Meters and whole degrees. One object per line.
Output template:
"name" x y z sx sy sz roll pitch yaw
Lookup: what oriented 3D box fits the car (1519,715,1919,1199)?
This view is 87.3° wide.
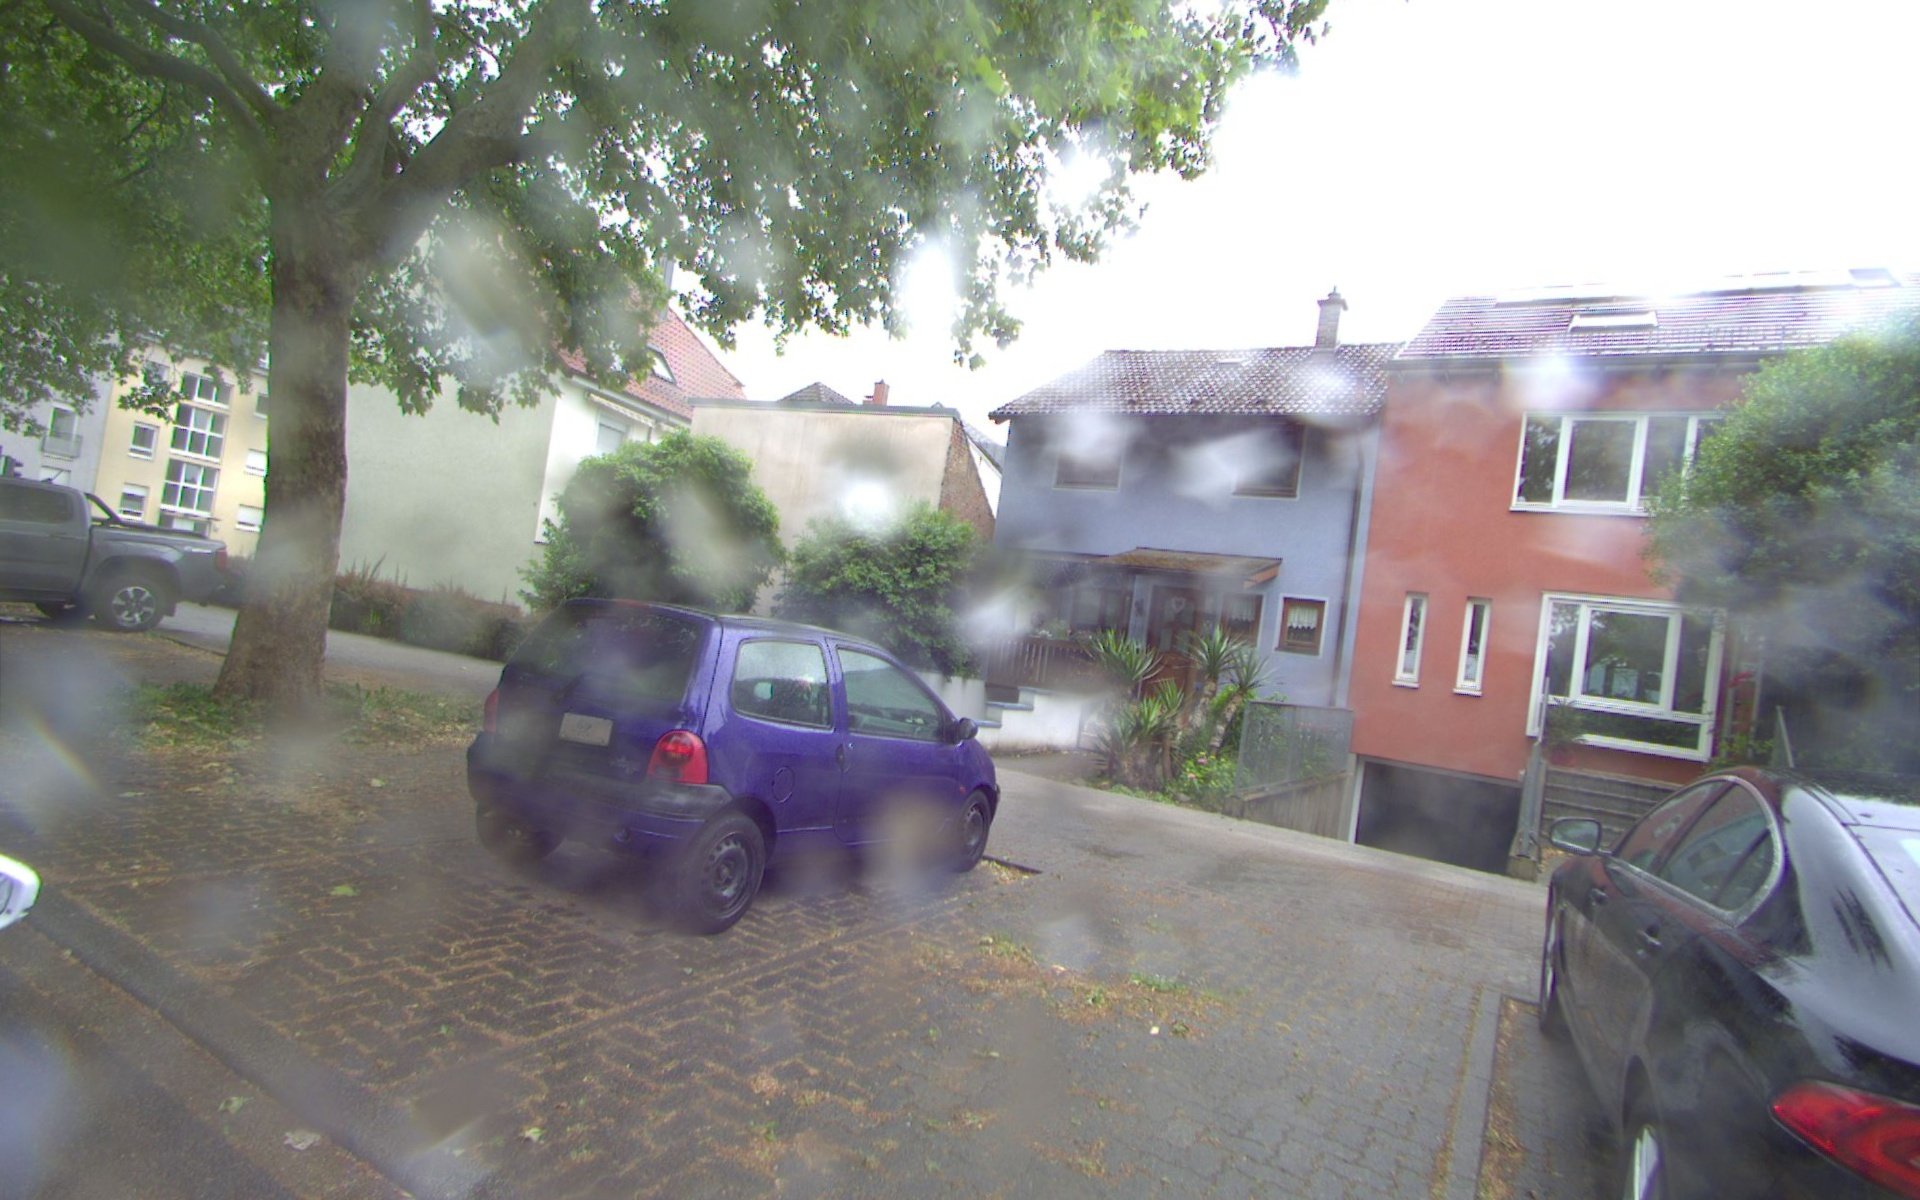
"car" 2.965 1.250 2.971 1.903 1.489 4.781 7 -2 27

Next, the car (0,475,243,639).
"car" -12.364 -0.684 12.440 1.812 1.827 5.357 7 -2 25

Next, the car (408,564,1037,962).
"car" -1.067 0.825 5.924 1.591 1.480 3.364 7 -3 30
